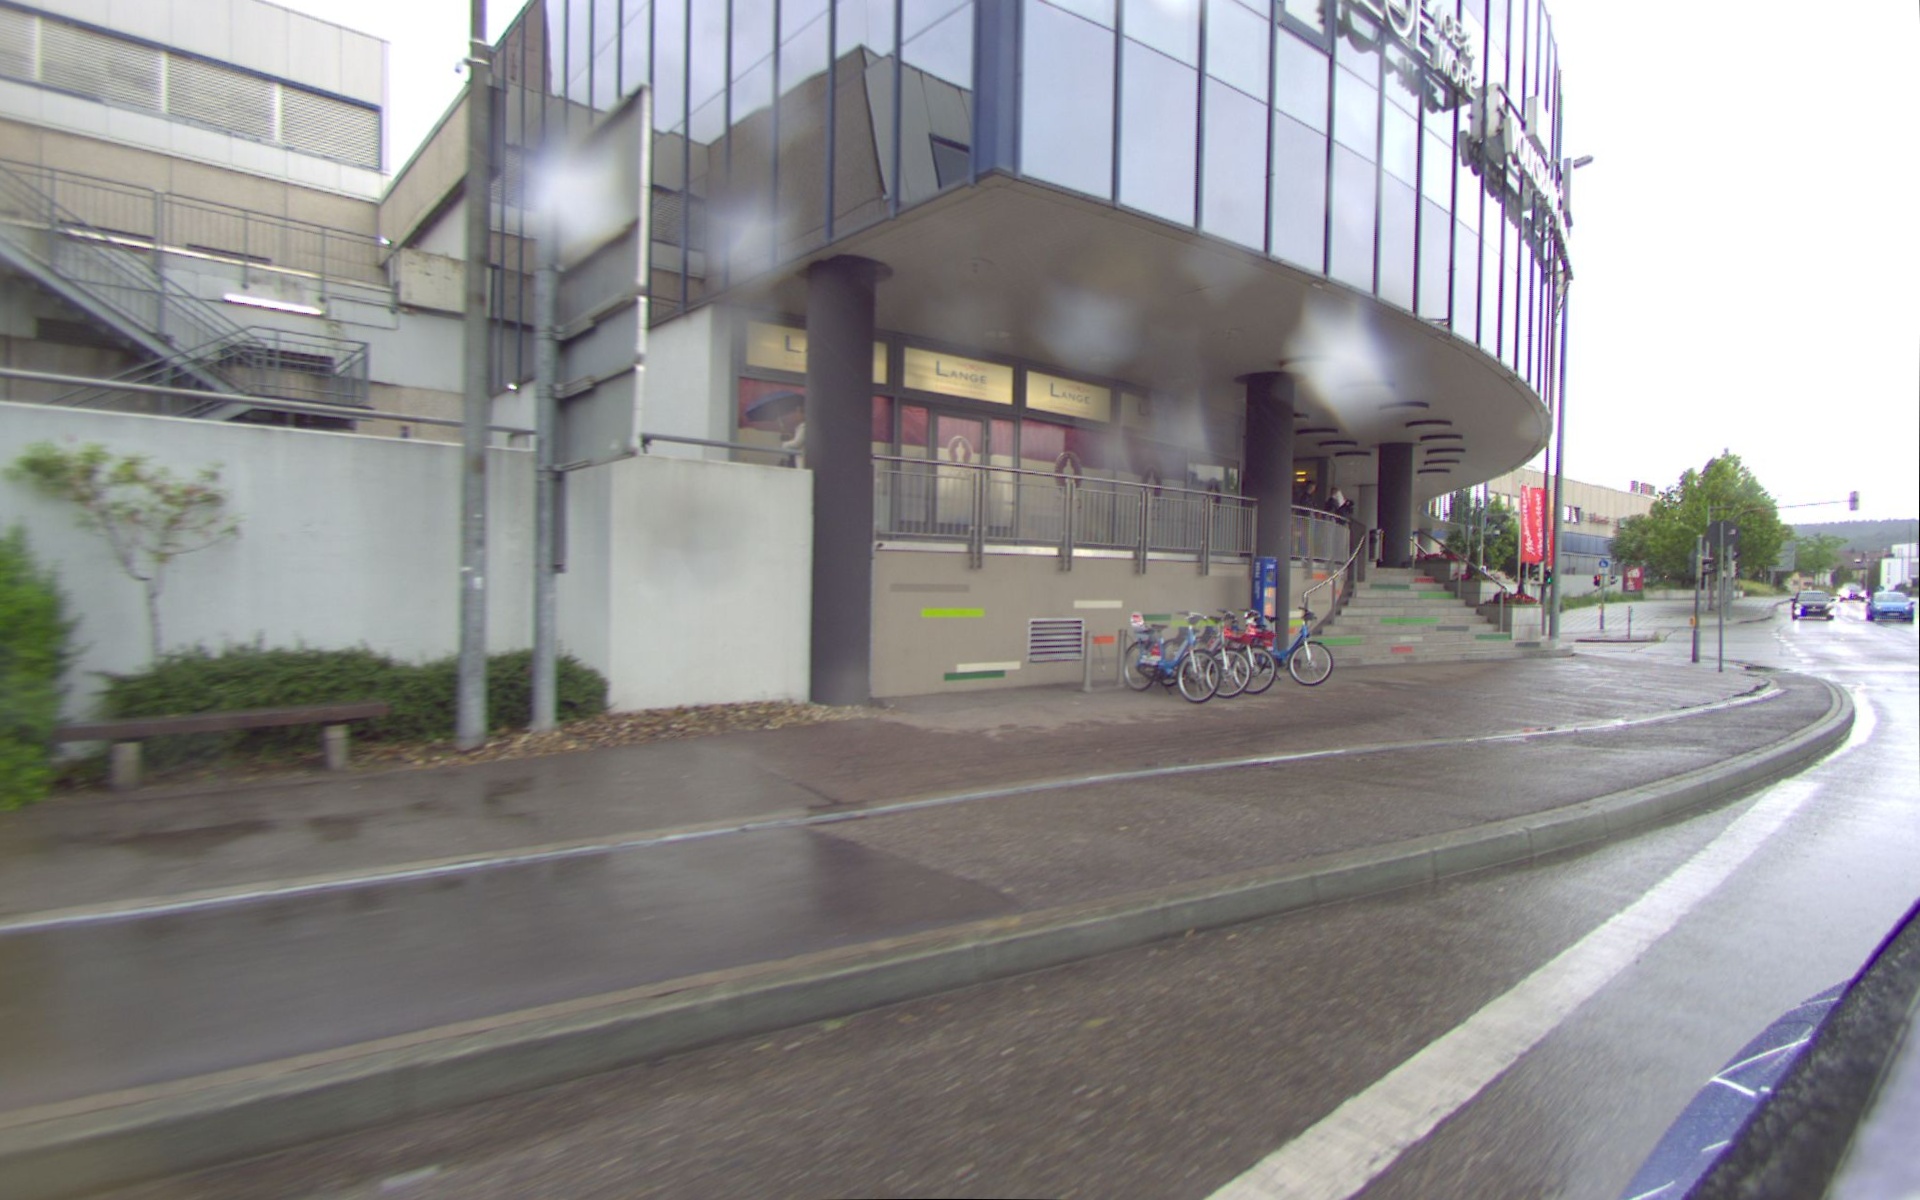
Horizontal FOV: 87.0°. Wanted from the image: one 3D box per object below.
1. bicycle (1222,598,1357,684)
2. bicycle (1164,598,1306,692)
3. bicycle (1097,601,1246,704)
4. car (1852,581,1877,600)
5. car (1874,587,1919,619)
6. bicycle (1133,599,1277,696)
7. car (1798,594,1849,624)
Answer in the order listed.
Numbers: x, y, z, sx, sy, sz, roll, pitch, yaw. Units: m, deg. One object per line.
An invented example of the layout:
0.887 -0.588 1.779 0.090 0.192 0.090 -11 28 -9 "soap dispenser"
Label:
4.915 0.578 15.215 0.681 1.124 1.835 0 3 -38 "bicycle"
3.781 0.588 14.061 0.681 1.124 1.815 1 2 -38 "bicycle"
2.673 0.627 12.953 0.681 1.124 1.815 1 2 -38 "bicycle"
83.103 -0.833 92.987 1.579 1.660 3.583 1 1 43 "car"
48.276 0.141 51.975 1.895 1.545 3.938 2 1 43 "car"
3.235 0.596 13.508 0.672 1.098 1.806 0 3 -38 "bicycle"
46.772 0.456 54.796 1.895 1.545 3.938 2 1 43 "car"
